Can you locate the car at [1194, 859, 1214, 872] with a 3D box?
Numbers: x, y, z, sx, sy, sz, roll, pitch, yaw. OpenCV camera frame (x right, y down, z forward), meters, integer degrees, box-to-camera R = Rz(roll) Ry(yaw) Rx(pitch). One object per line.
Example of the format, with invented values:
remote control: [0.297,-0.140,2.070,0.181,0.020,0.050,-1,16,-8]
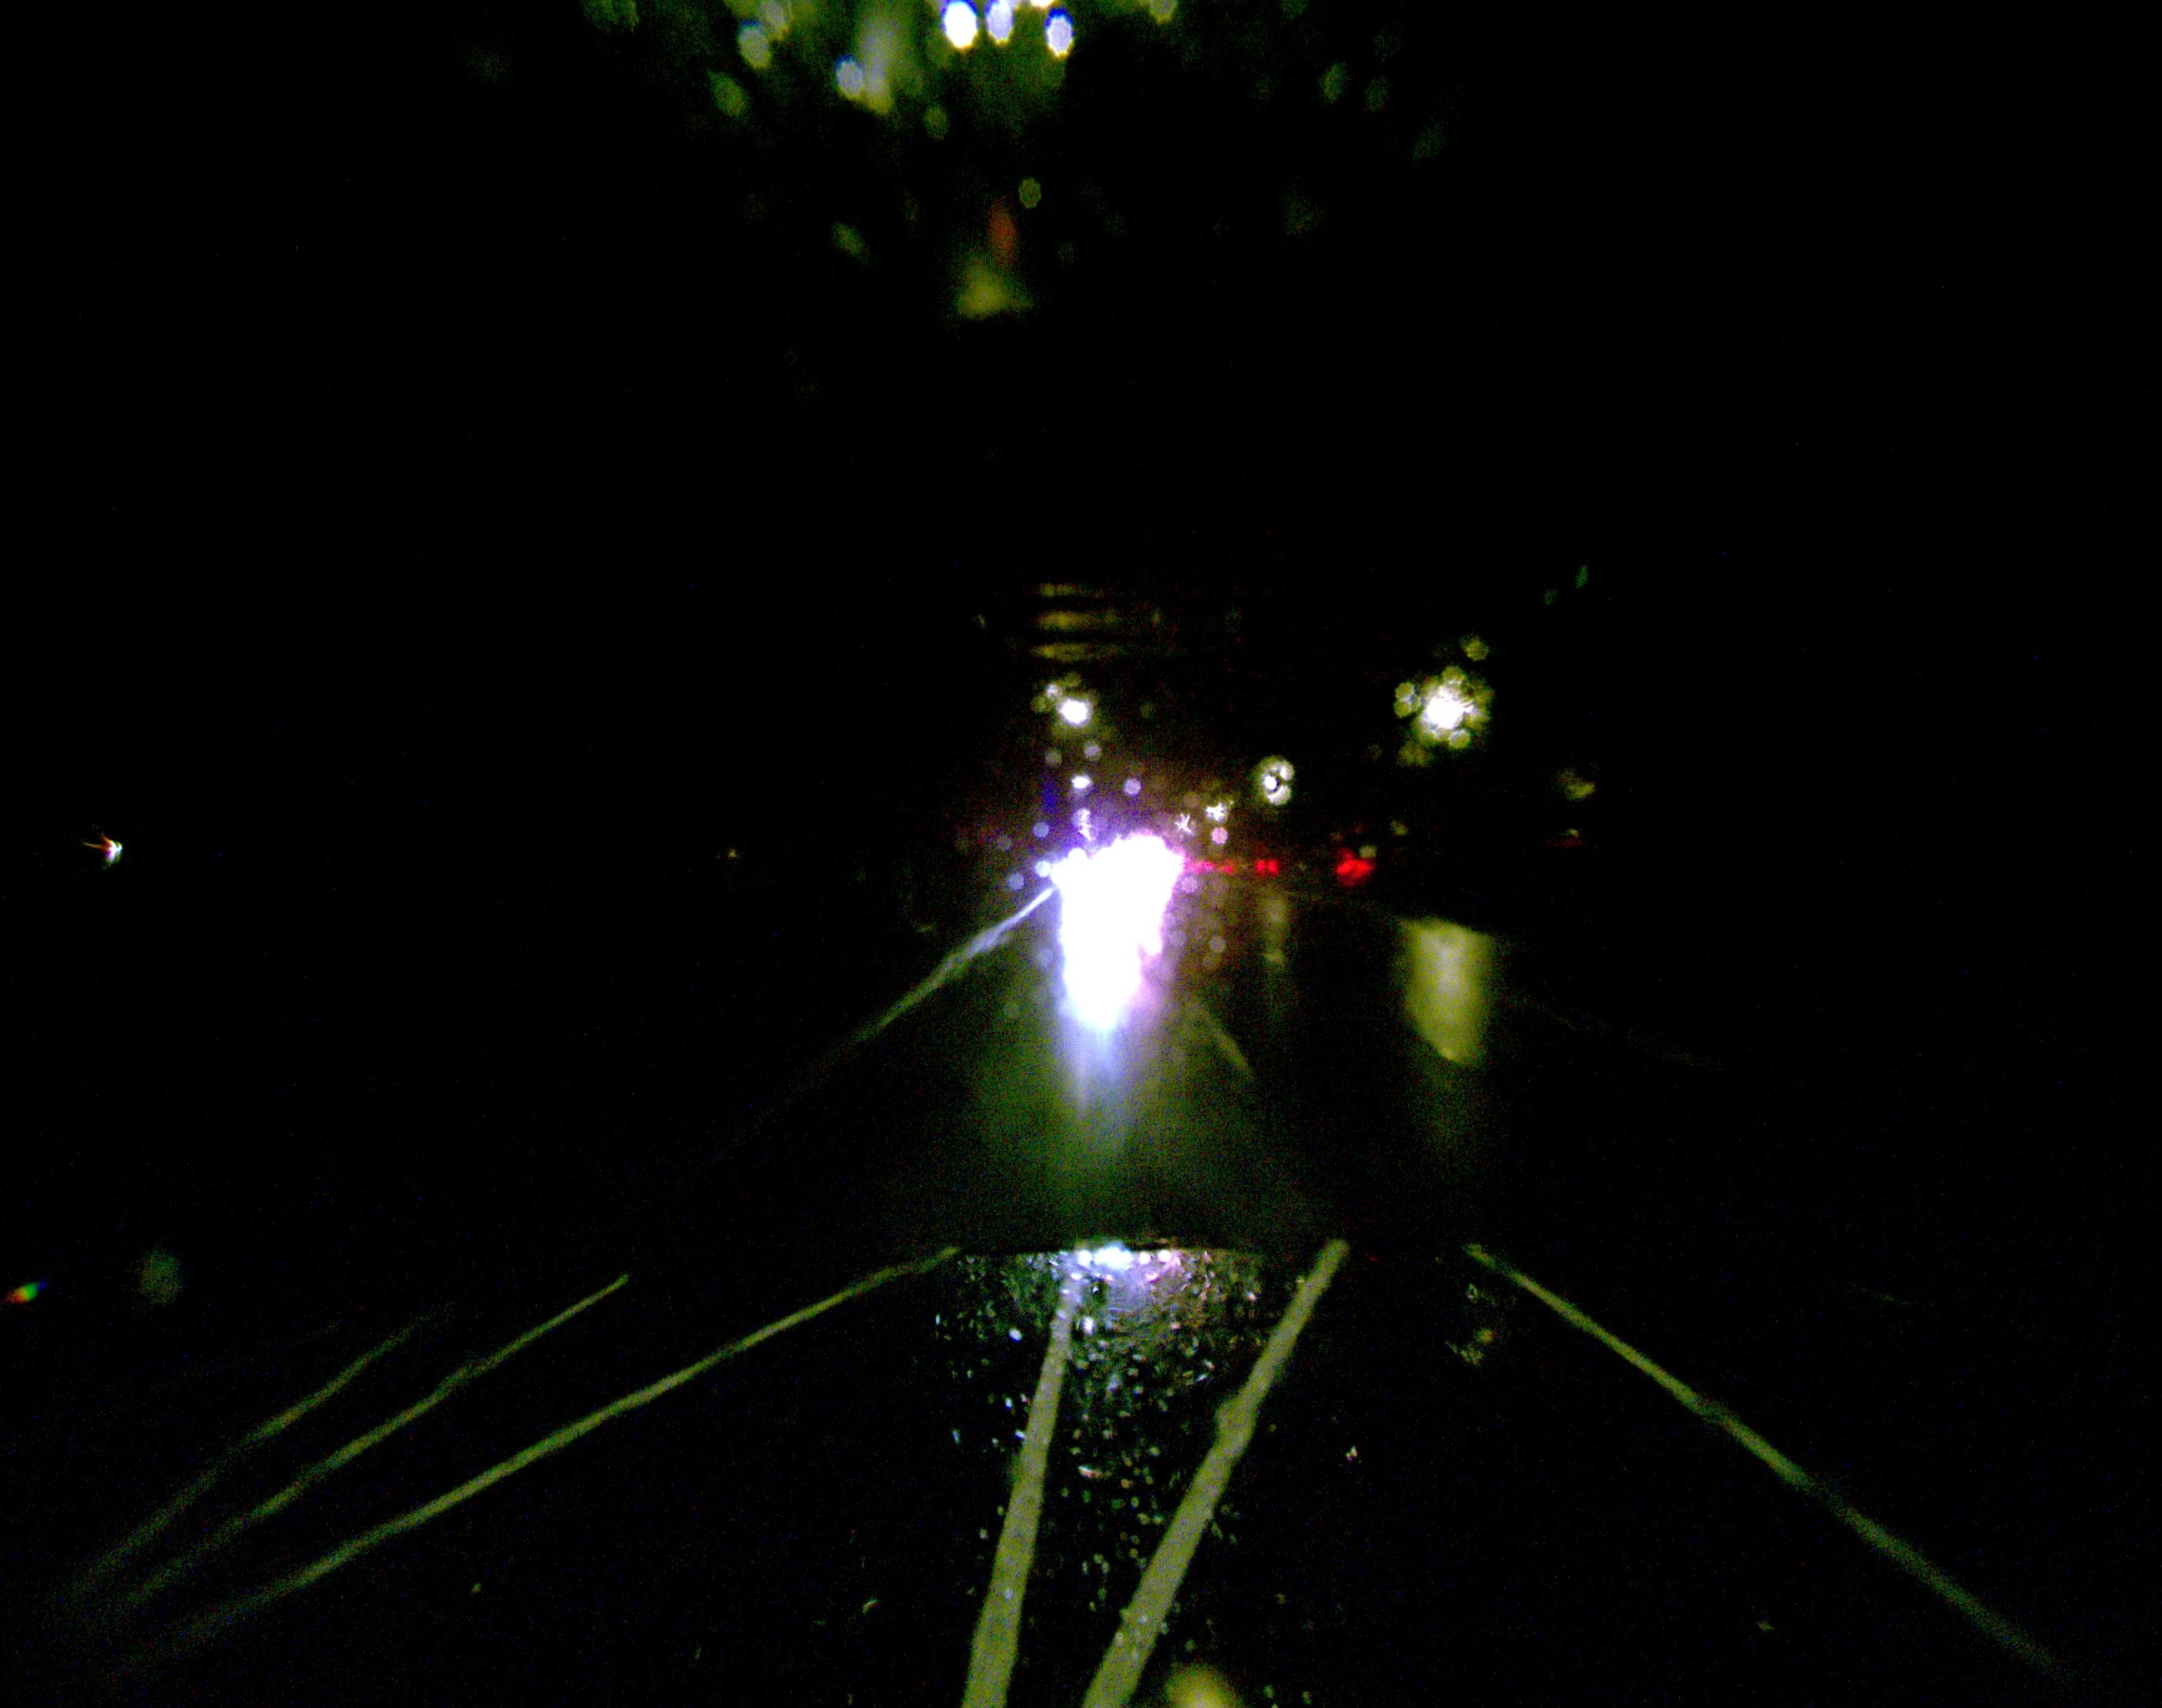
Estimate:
car: [15.039,1.404,92.848,1.847,1.477,4.366,-2,0,2]

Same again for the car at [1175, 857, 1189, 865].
car: [19.039,1.263,143.947,1.848,1.350,5.559,-2,0,0]

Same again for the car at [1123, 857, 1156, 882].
car: [3.783,0.984,50.008,1.833,1.518,4.875,-2,0,1]

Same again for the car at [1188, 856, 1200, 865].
car: [22.189,1.278,149.229,1.847,1.583,4.751,-2,0,2]

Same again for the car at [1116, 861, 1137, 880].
car: [4.485,1.613,74.887,1.833,1.696,4.194,-2,0,1]

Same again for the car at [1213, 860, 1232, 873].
car: [18.614,1.598,99.891,1.847,1.583,4.366,-2,0,2]

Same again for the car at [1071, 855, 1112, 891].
car: [0.546,0.921,39.136,1.950,1.709,4.442,-2,0,1]

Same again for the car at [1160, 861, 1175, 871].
car: [15.911,2.207,139.557,1.848,1.583,5.326,-2,0,-2]

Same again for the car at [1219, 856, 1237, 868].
car: [21.667,1.143,112.105,1.847,1.583,4.366,-2,0,2]

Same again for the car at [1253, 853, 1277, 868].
car: [21.032,0.730,86.884,1.847,1.583,4.366,-2,0,2]

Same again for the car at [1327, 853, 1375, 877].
car: [20.651,0.818,58.286,2.029,1.674,4.548,-2,0,1]
